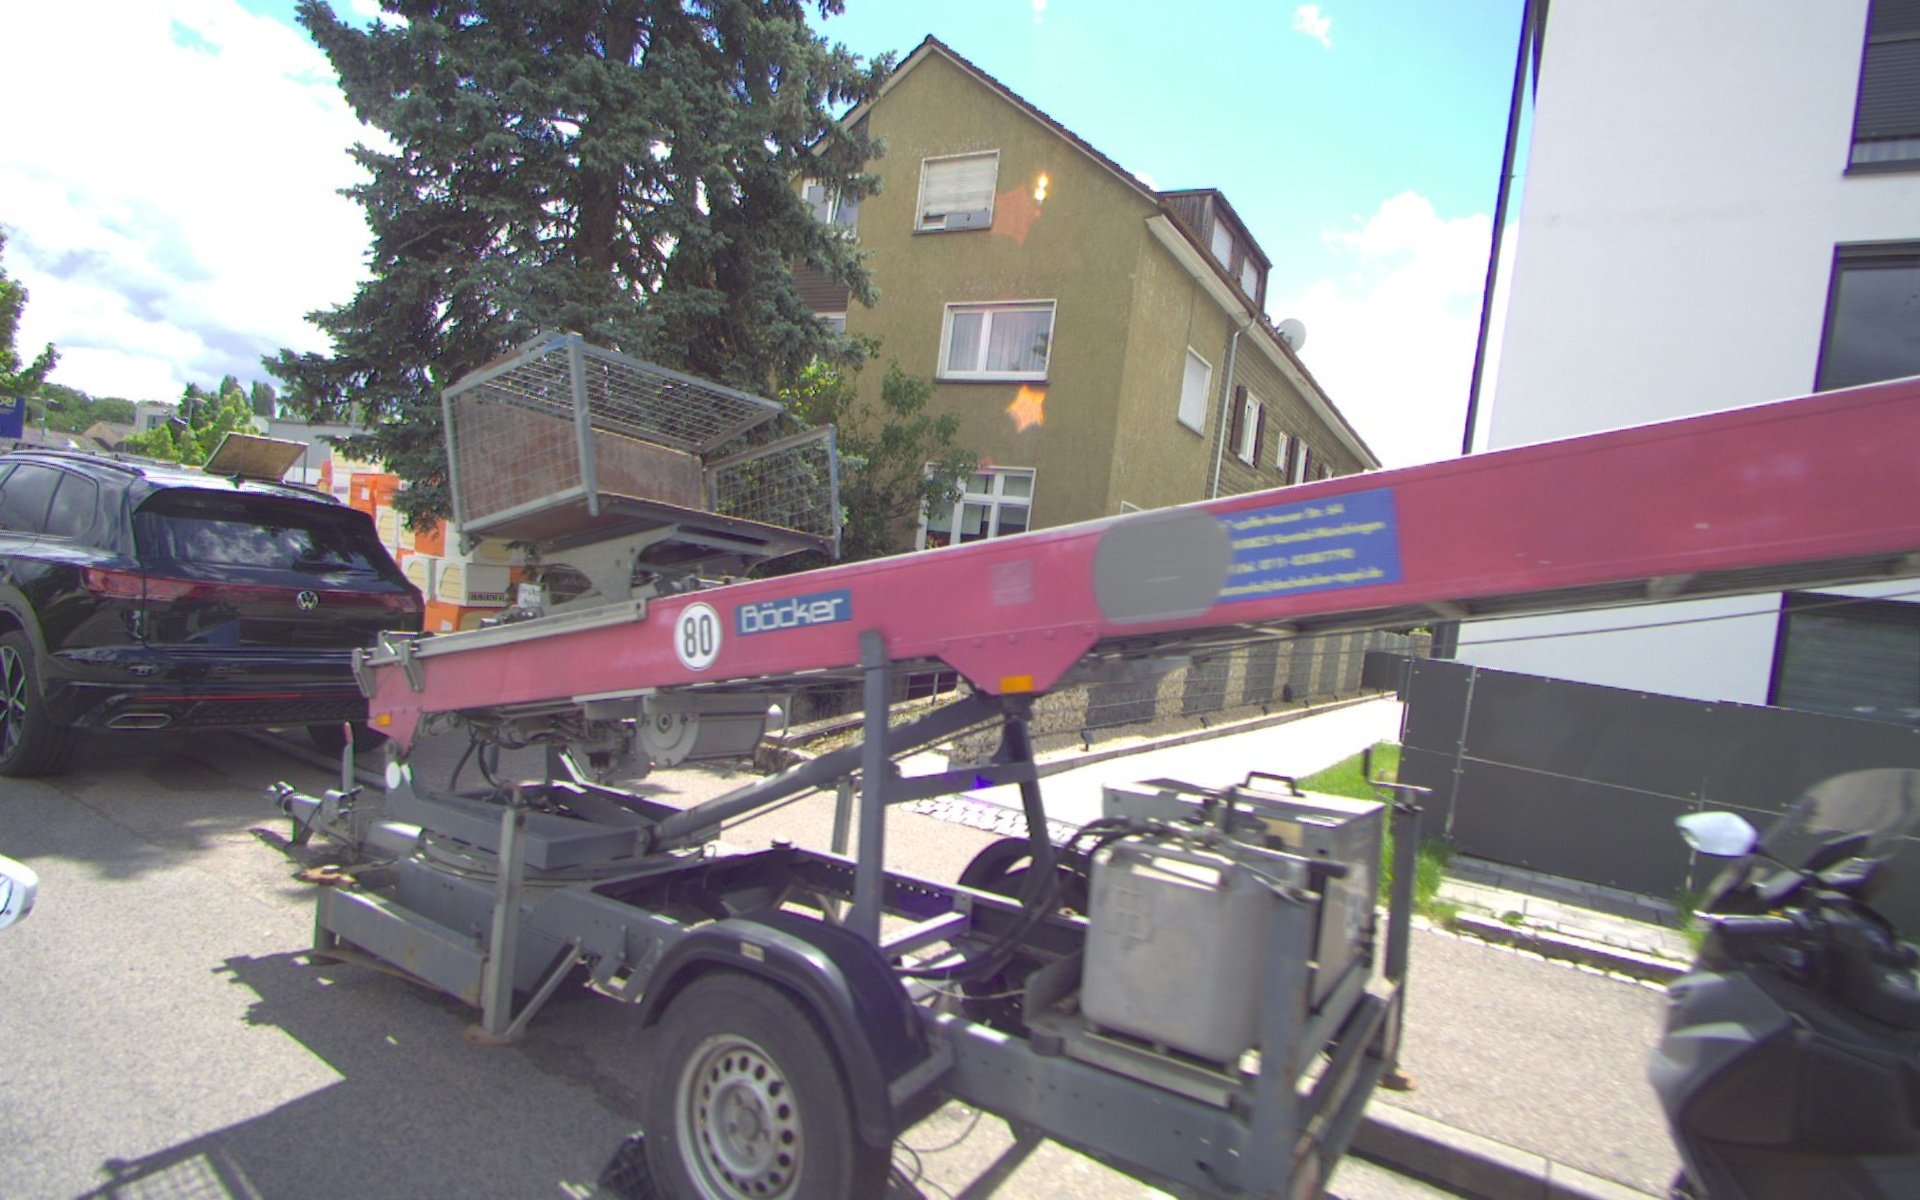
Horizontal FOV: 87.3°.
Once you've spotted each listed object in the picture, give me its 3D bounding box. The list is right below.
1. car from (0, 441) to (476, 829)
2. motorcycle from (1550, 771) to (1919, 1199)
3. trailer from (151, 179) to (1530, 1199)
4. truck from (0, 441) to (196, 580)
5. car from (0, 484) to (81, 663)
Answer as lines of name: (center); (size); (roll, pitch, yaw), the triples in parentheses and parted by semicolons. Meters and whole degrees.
car: (-5.529, -0.020, 6.581); (4.633, 1.749, 1.875); (7, 1, 30)
motorcycle: (1.882, 1.075, 1.543); (0.704, 1.225, 1.821); (7, 1, -3)
trailer: (-0.613, 0.317, 3.275); (4.045, 2.172, 1.774); (7, 1, 31)
truck: (-16.677, -1.759, 18.904); (5.294, 2.111, 1.829); (9, 5, 31)
car: (-10.138, -0.442, 9.385); (3.933, 1.527, 1.774); (7, 1, 32)
